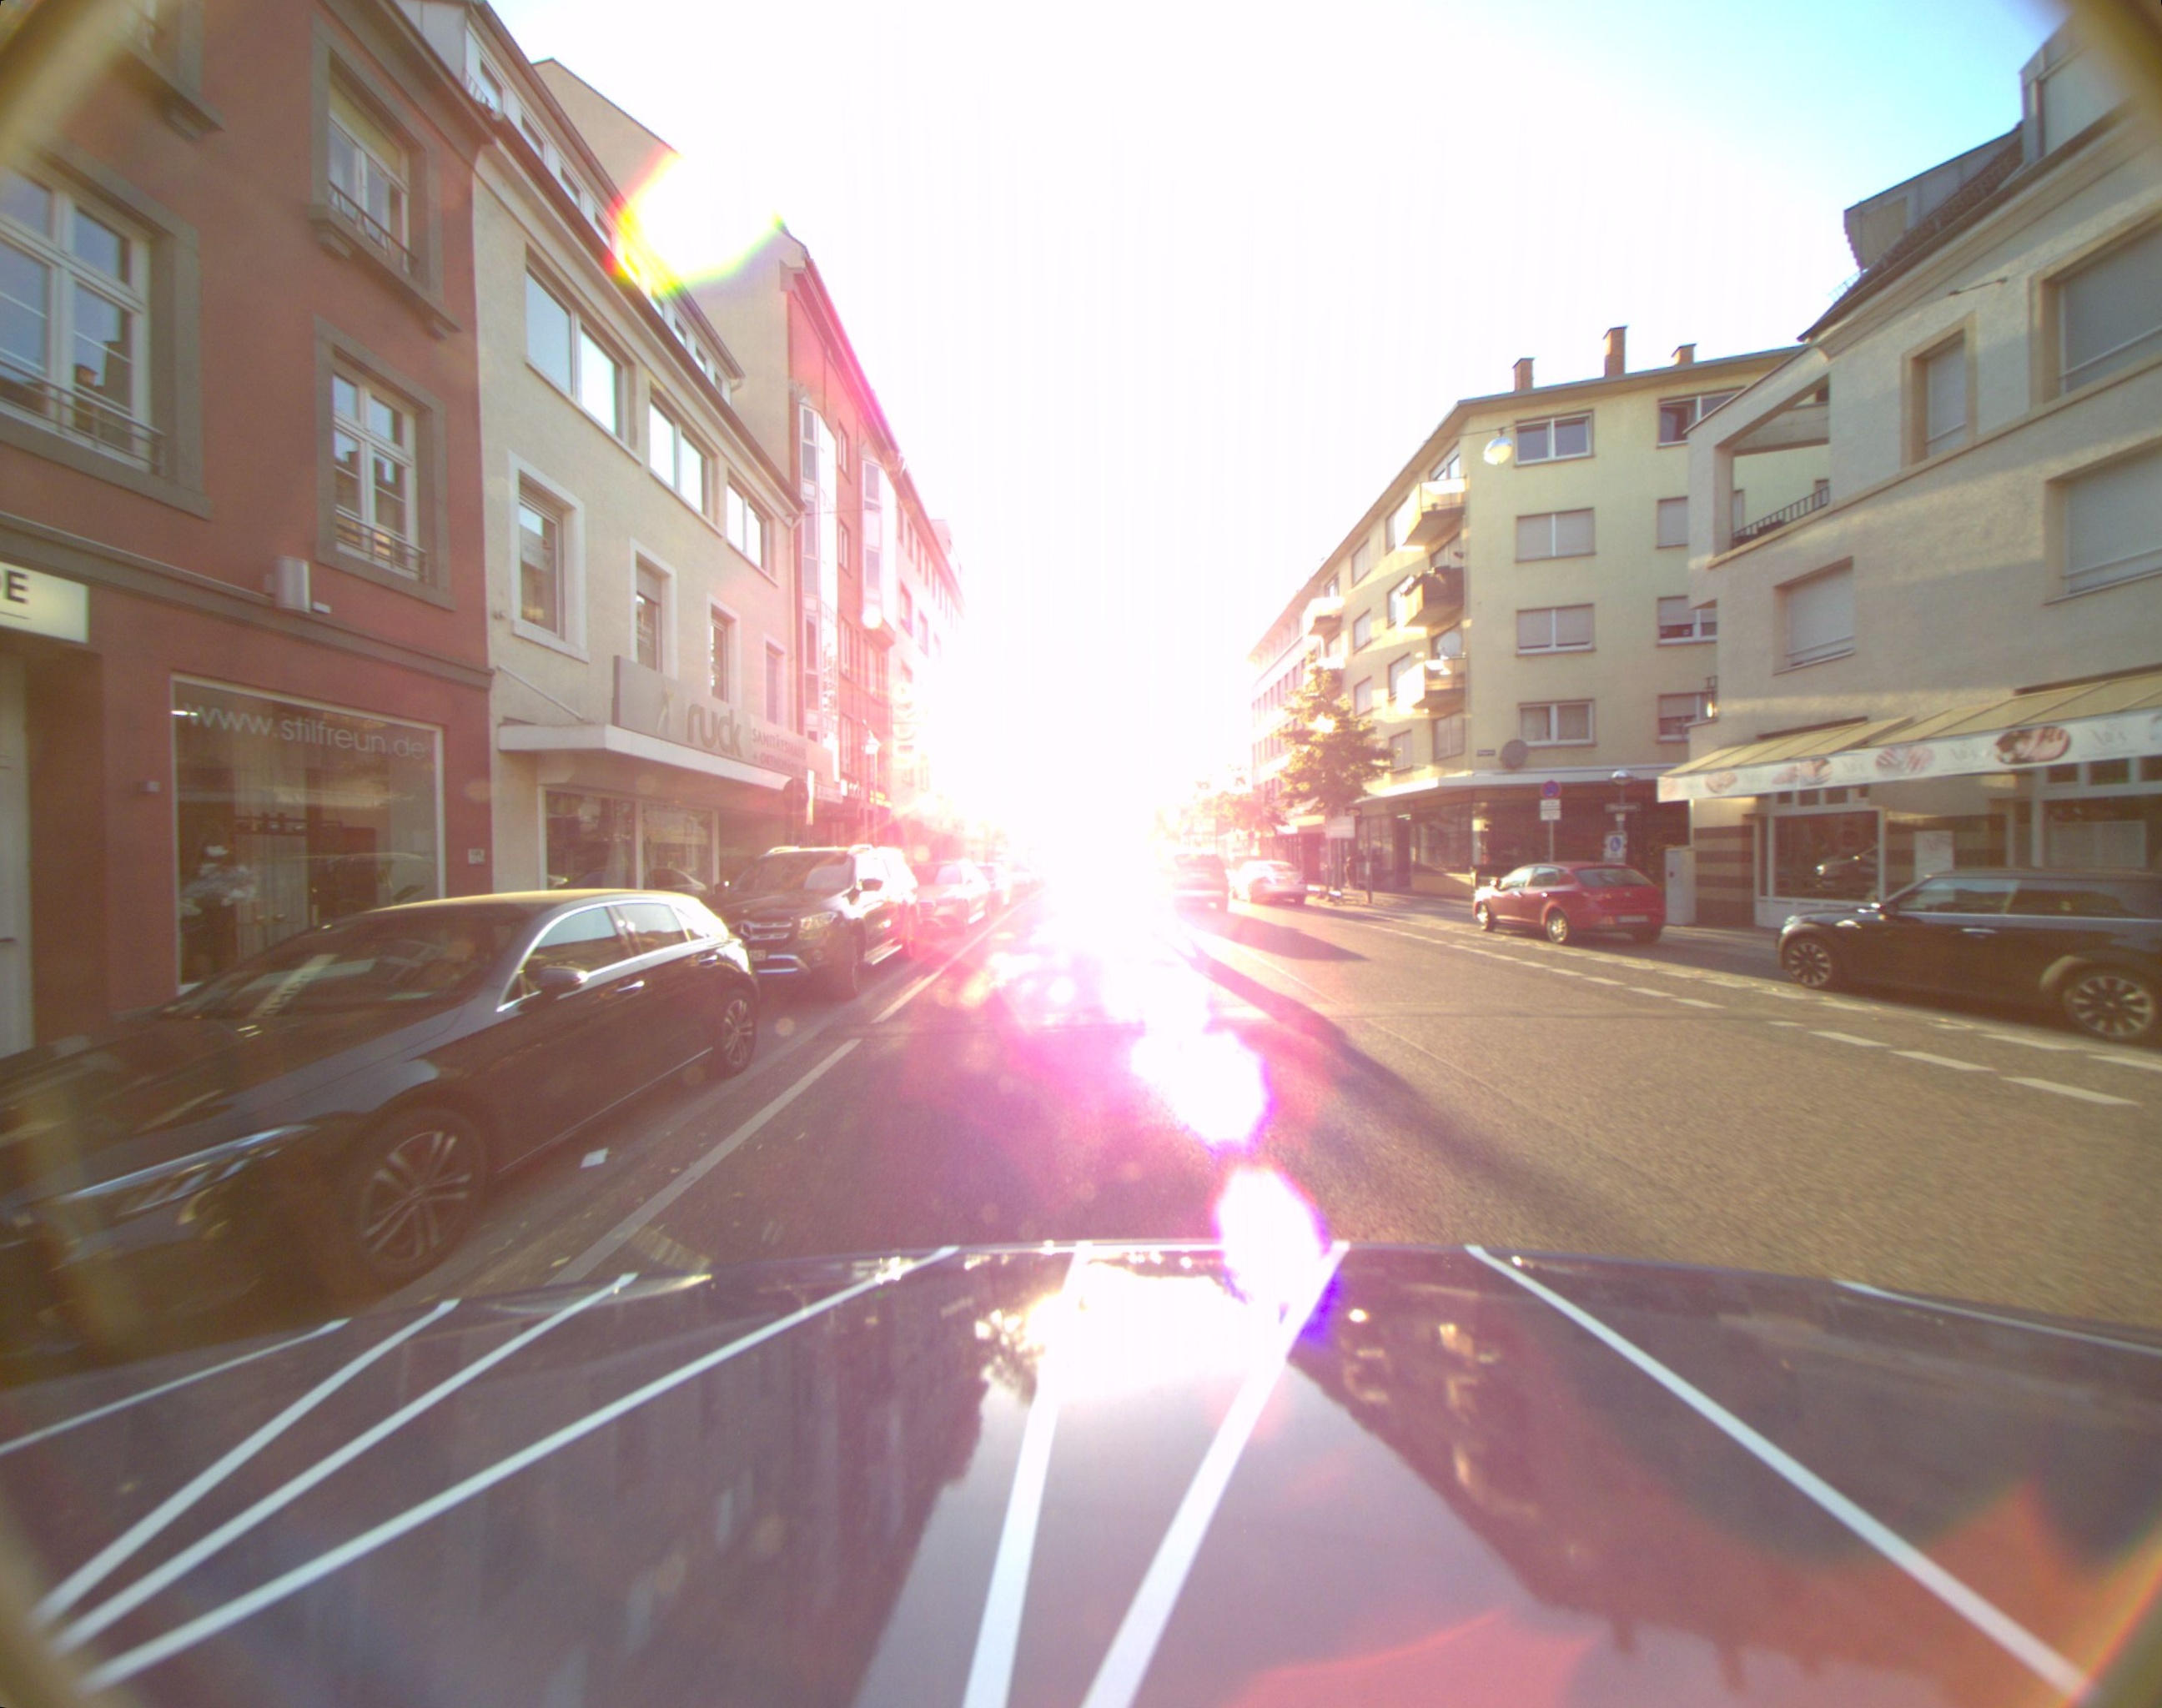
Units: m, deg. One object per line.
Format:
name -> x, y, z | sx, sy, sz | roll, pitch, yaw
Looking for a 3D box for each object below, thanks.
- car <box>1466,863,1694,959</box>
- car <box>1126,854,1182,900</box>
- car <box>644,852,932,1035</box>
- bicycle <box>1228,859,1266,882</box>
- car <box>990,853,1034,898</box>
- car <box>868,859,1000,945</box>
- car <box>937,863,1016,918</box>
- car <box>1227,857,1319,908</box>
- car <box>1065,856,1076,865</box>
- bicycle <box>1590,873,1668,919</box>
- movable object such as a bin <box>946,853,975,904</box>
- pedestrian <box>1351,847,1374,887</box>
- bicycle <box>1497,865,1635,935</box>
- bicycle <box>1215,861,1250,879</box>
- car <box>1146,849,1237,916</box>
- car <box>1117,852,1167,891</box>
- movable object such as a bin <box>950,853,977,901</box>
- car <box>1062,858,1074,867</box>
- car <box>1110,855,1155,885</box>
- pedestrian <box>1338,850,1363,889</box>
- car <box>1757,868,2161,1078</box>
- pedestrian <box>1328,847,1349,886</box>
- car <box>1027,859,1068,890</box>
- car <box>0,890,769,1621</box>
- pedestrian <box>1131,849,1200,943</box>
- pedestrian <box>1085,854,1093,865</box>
car -> 9.036, 0.941, 14.184 | 1.665, 1.394, 3.883 | -2, 1, 0
car -> 2.655, 0.801, 28.471 | 1.728, 1.540, 4.464 | 0, 1, 1
car -> -3.460, 0.897, 10.224 | 1.888, 1.744, 5.058 | -2, 1, -1
bicycle -> 9.391, 0.913, 43.013 | 2.014, 1.212, 0.491 | -2, 1, 0
car -> -2.904, 0.886, 32.558 | 1.659, 1.768, 4.011 | -2, 0, -3
car -> -3.133, 0.953, 17.298 | 1.816, 1.518, 4.993 | -2, 1, 2
car -> -3.036, 1.016, 23.001 | 1.757, 1.412, 4.509 | -2, 0, 0
car -> 6.522, 0.905, 26.309 | 1.998, 1.503, 4.509 | 2, 1, 0
car -> -2.079, 1.314, 152.710 | 1.998, 1.538, 4.509 | -2, 1, 1
bicycle -> 13.411, 1.007, 18.680 | 0.491, 0.986, 2.016 | -2, 1, 1
movable object such as a bin -> -4.366, 0.870, 27.572 | 0.837, 1.763, 1.353 | -2, 1, -3
pedestrian -> 12.807, 0.575, 34.603 | 0.742, 1.808, 0.813 | 0, 0, 2
bicycle -> 10.642, 0.954, 16.891 | 0.961, 1.293, 3.126 | -2, 1, -2
bicycle -> 9.236, 0.981, 46.481 | 2.015, 0.986, 0.491 | -2, 1, -4
car -> 2.967, 0.697, 21.395 | 1.945, 1.635, 4.738 | 0, 1, 1
car -> 2.746, 0.758, 35.126 | 1.951, 1.635, 4.615 | 0, 1, 1
movable object such as a bin -> -4.451, 0.858, 28.870 | 0.837, 1.763, 1.205 | -2, 1, -3
car -> -2.413, 1.501, 140.847 | 1.999, 1.538, 4.508 | -2, 1, -1
car -> 2.745, 0.861, 41.490 | 1.963, 1.538, 4.509 | -1, -1, -2
pedestrian -> 11.912, 0.688, 33.571 | 0.768, 1.666, 0.744 | -1, 1, 43
car -> 9.105, 0.945, 7.399 | 1.715, 1.445, 3.724 | -2, 1, 0
pedestrian -> 12.171, 0.598, 35.920 | 0.769, 1.836, 0.744 | -1, -1, 10
car -> -1.661, 1.003, 38.554 | 1.942, 1.368, 4.181 | -2, 0, -1
car -> -3.438, 1.084, 3.925 | 1.766, 1.475, 4.306 | -2, 1, 1
pedestrian -> 1.559, 0.760, 14.193 | 0.907, 1.667, 0.991 | 1, 1, -18
pedestrian -> 1.205, 0.855, 115.544 | 0.905, 1.666, 0.780 | -2, 1, 12
